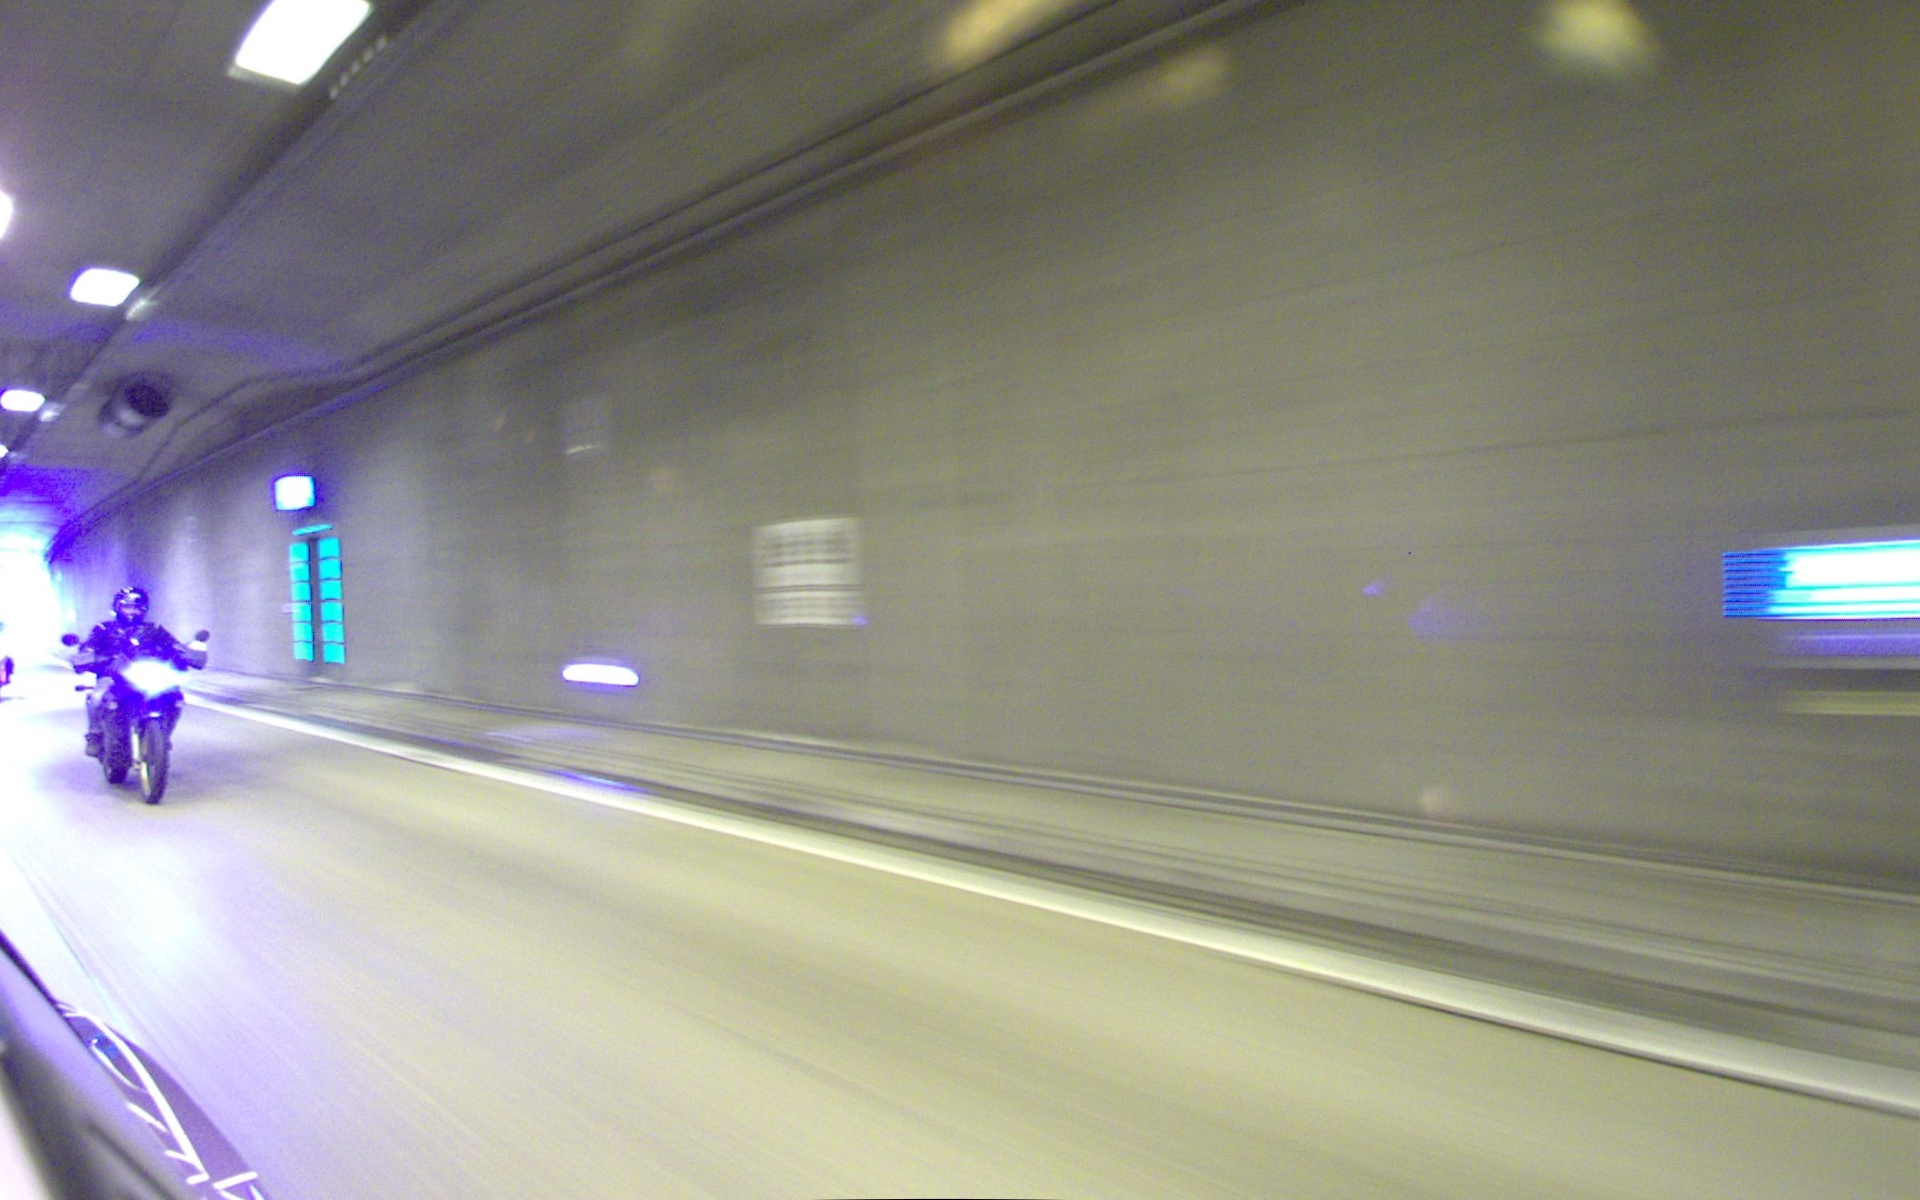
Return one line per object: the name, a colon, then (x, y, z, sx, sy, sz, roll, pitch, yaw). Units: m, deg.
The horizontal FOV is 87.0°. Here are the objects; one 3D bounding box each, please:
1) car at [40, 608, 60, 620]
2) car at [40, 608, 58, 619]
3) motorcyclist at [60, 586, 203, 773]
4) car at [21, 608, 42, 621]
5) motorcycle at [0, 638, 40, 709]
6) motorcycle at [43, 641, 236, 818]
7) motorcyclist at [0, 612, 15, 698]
car: (-143.444, 2.133, 159.542, 1.968, 1.812, 4.008, -1, 0, -38)
car: (-156.109, 2.277, 173.388, 1.968, 1.812, 4.008, -1, 0, -38)
motorcyclist: (-7.098, 0.644, 8.673, 0.821, 1.488, 0.830, -2, -1, 41)
car: (-132.981, 2.035, 144.981, 1.968, 1.812, 4.008, -1, 0, -39)
motorcycle: (-17.186, 1.277, 17.839, 2.424, 1.166, 1.043, -1, -1, 38)
motorcycle: (-7.029, 0.999, 8.606, 2.603, 1.255, 0.837, -2, -1, 41)
motorcyclist: (-17.315, 0.973, 18.001, 0.889, 1.500, 0.621, -1, -1, 39)
